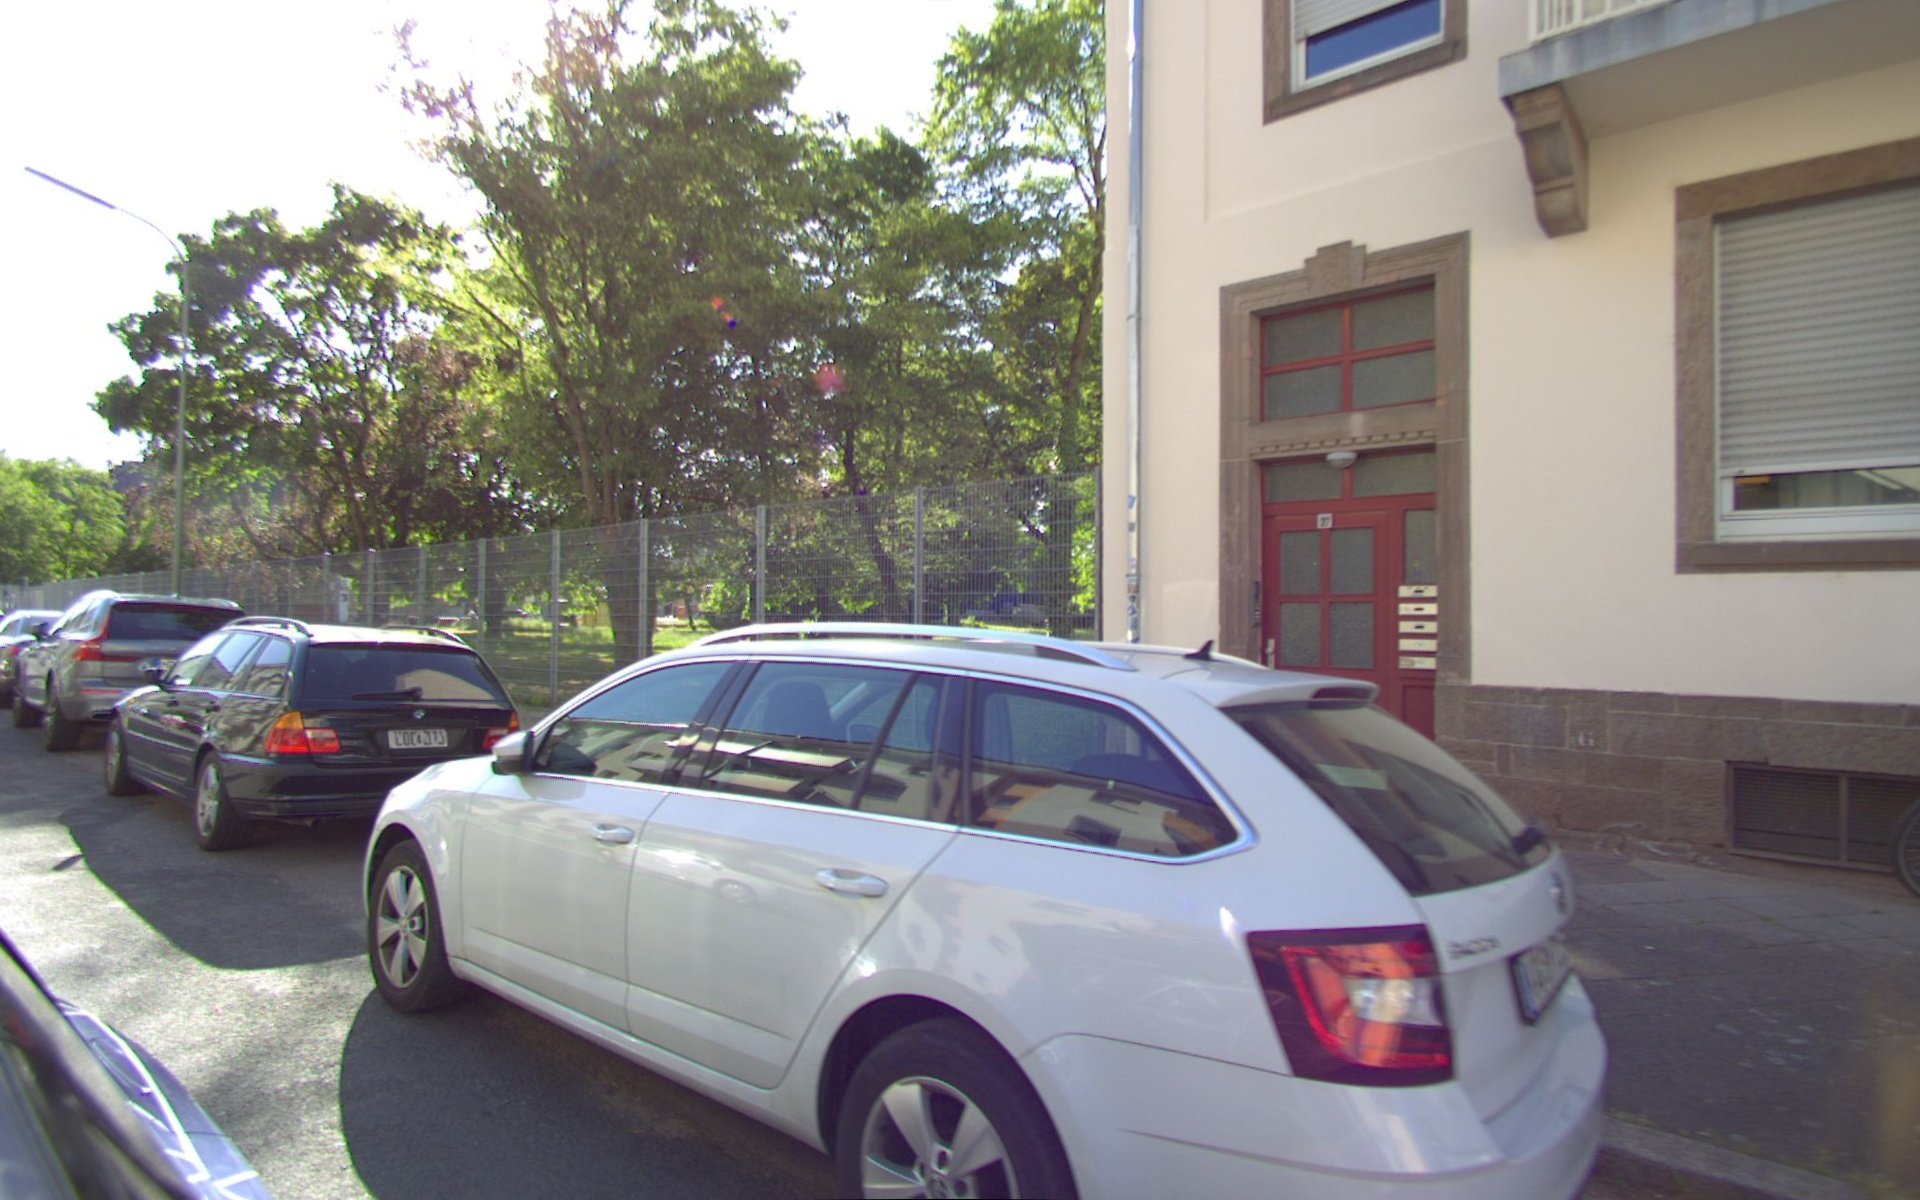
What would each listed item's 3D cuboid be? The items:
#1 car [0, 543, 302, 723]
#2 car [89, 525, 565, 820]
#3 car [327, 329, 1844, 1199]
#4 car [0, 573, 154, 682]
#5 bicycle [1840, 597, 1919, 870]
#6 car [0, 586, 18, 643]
[{"bbox_3d":[-9.550,0.310,11.762,4.929,1.676,1.859,1,-1,41],"label":"car"},{"bbox_3d":[-4.923,0.397,7.568,4.458,1.574,1.773,1,-2,42],"label":"car"},{"bbox_3d":[-0.192,0.505,3.374,4.636,1.553,1.774,0,-4,39],"label":"car"},{"bbox_3d":[-14.316,0.351,15.833,4.498,1.482,1.776,1,0,40],"label":"car"},{"bbox_3d":[5.182,0.596,4.171,2.339,1.213,0.623,0,1,41],"label":"bicycle"},{"bbox_3d":[-26.751,0.352,27.097,4.117,1.456,1.775,1,0,41],"label":"car"}]
